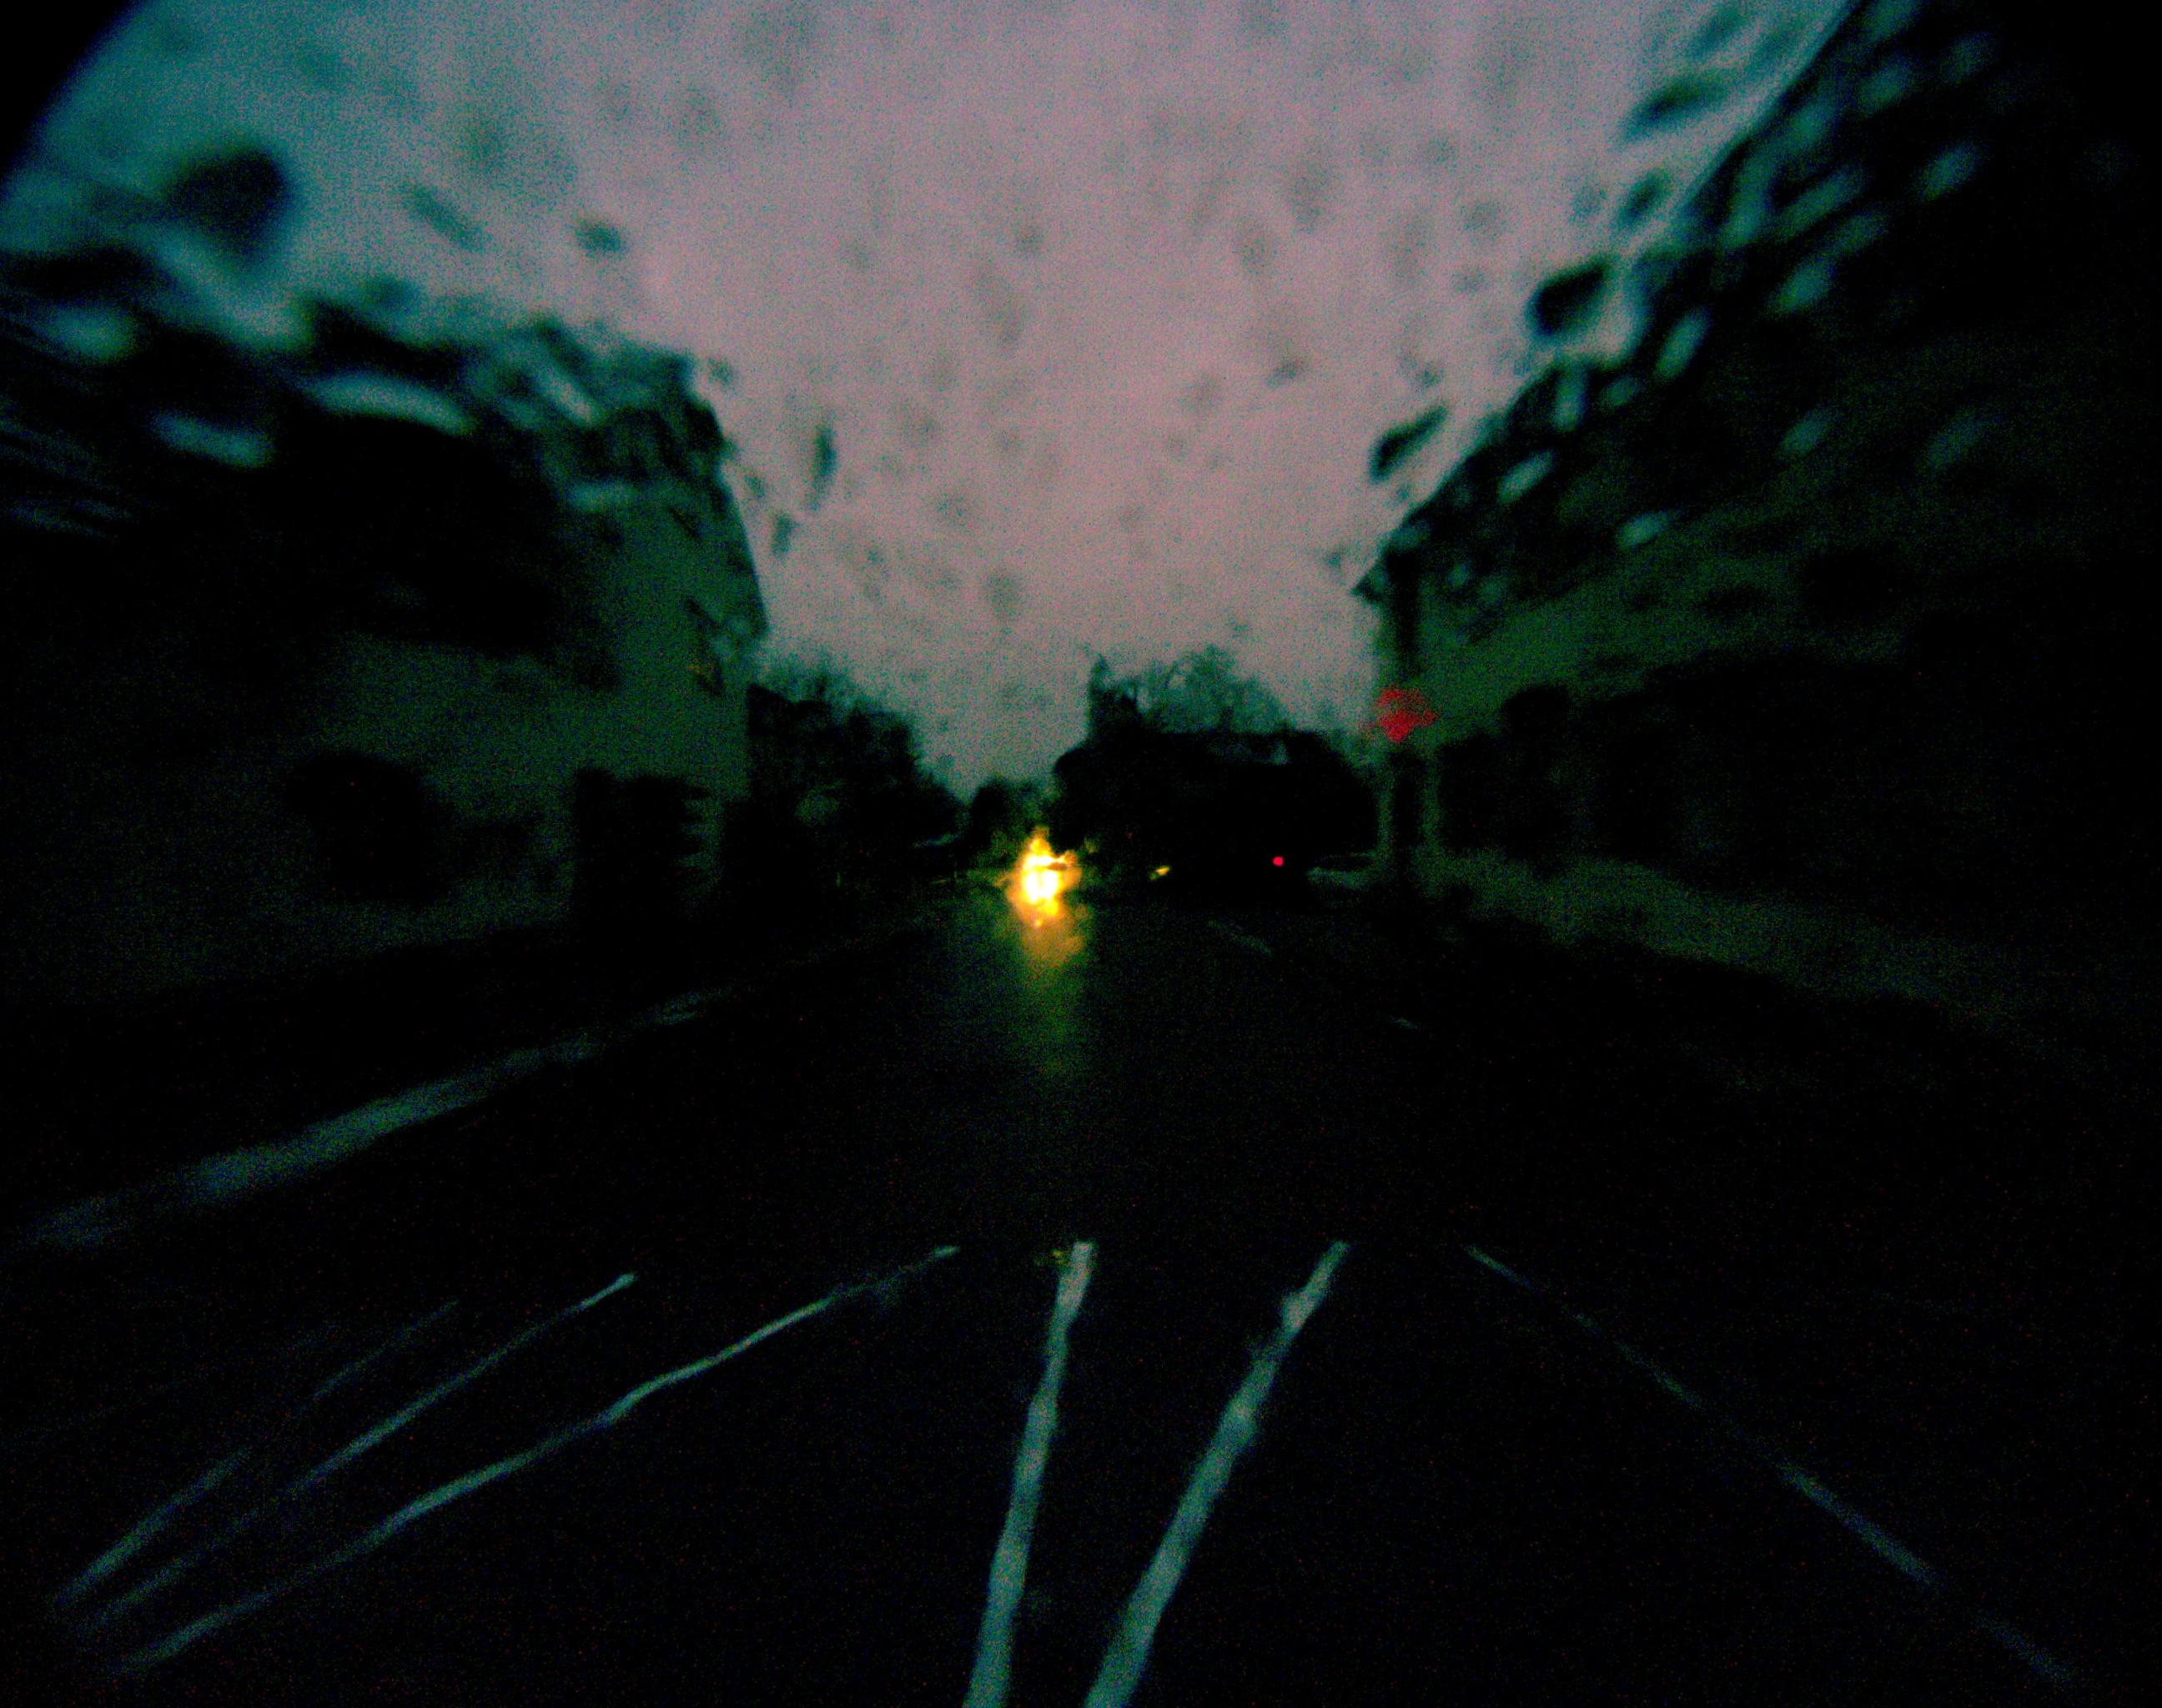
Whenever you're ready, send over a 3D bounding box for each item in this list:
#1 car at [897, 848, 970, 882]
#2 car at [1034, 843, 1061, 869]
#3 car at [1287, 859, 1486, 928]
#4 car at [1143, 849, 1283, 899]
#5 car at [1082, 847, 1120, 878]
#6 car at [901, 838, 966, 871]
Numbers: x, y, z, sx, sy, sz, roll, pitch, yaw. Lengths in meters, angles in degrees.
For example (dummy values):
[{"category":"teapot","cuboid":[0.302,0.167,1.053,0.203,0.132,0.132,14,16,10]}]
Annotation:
[{"category":"car","cuboid":[-8.505,0.591,44.074,4.000,1.783,1.998,-2,1,-9]},{"category":"car","cuboid":[-2.784,0.171,62.150,1.999,2.002,3.997,-2,1,-5]},{"category":"car","cuboid":[7.412,0.867,18.839,2.003,1.417,4.227,-2,1,-30]},{"category":"car","cuboid":[4.599,0.670,26.849,4.480,1.570,1.998,-2,1,-6]},{"category":"car","cuboid":[1.126,0.464,44.557,1.999,1.619,3.999,-2,1,-1]},{"category":"car","cuboid":[-9.579,0.014,49.456,4.000,2.002,1.998,-2,1,-9]}]
